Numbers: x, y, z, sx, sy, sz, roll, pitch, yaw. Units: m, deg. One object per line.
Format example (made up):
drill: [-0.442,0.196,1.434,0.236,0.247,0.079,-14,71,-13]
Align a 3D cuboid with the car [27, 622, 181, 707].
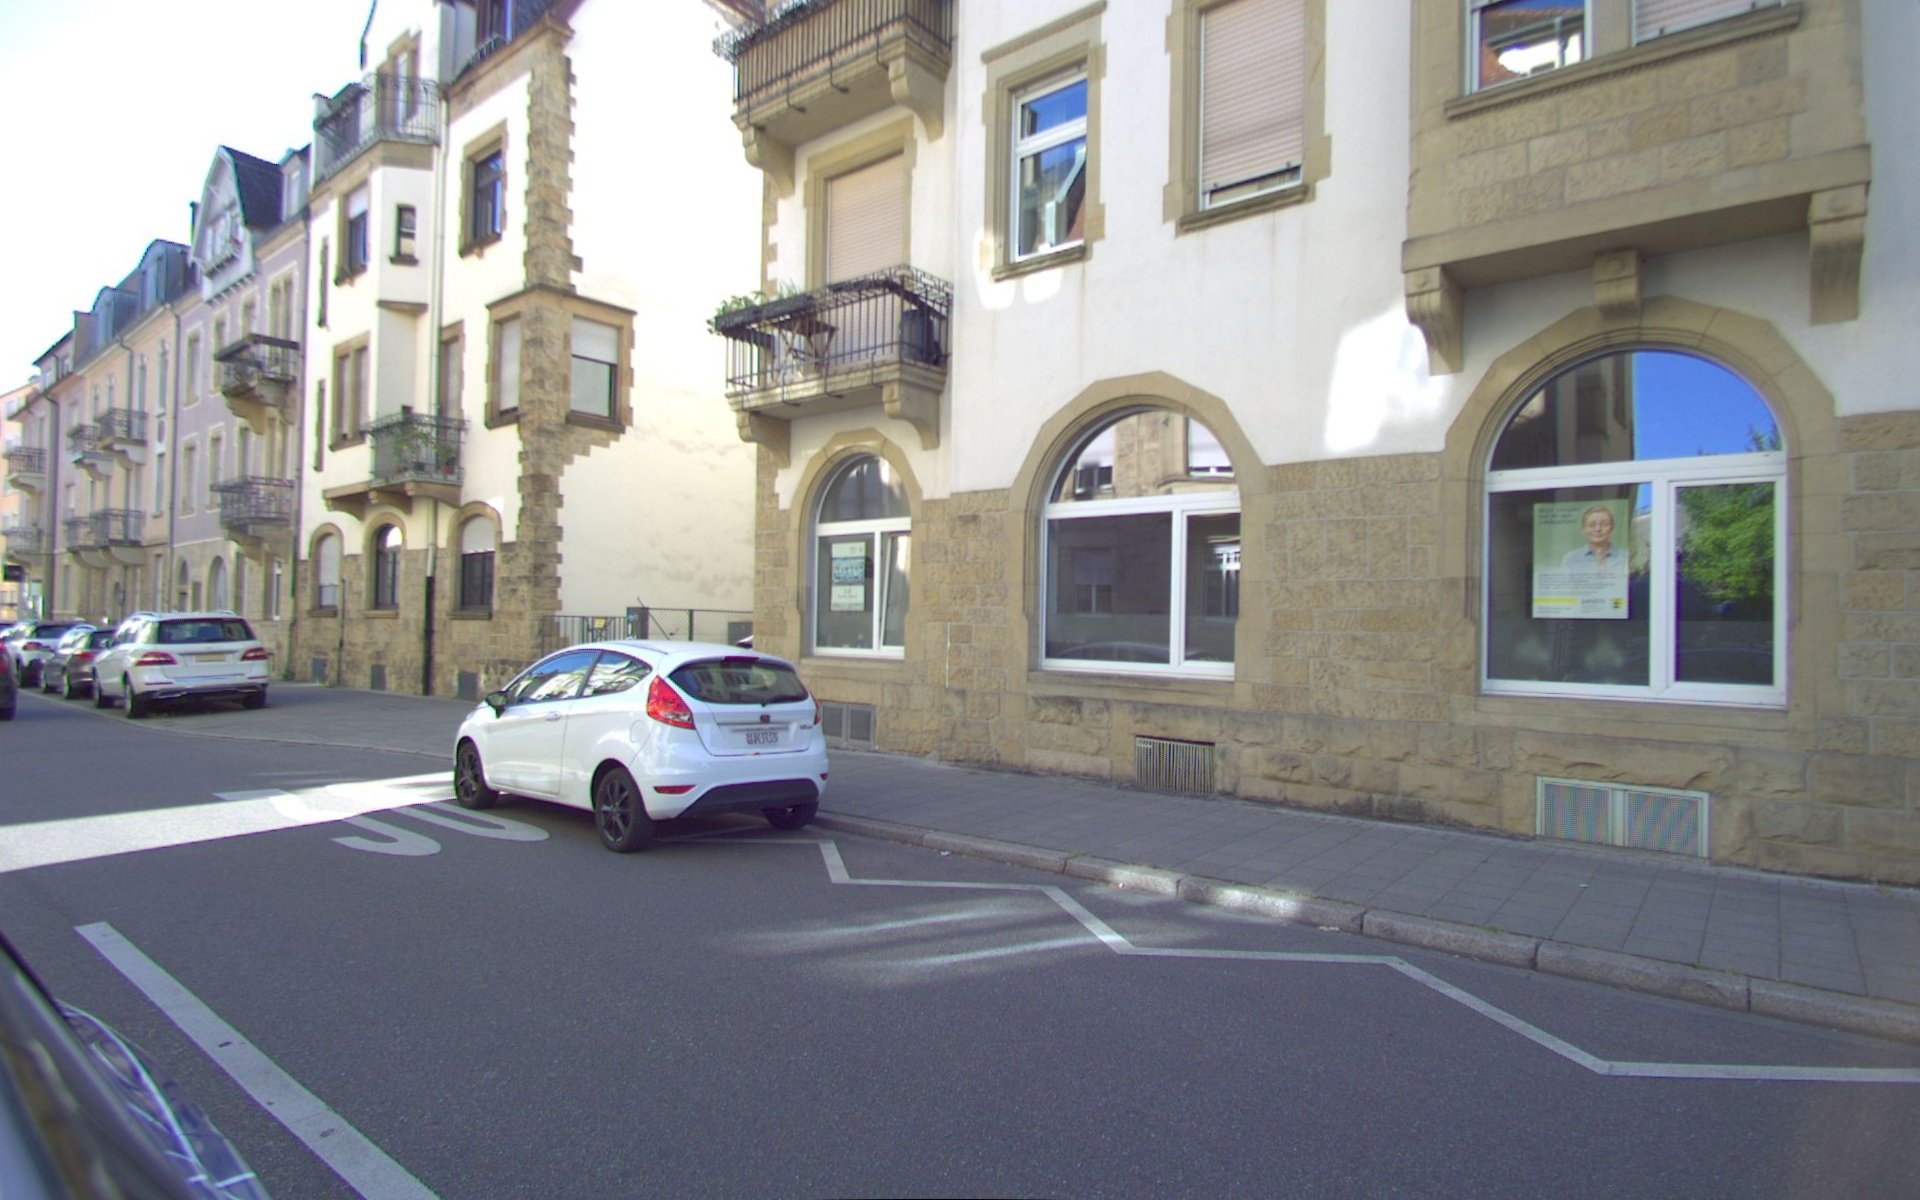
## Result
car: [-18.447,1.292,21.750,4.319,1.519,1.866,-1,2,41]

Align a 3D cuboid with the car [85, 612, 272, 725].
car: [-13.976,1.101,18.014,4.209,1.740,1.866,-1,0,41]

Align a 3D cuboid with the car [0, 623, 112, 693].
car: [-22.950,1.385,25.432,4.319,1.520,1.866,-1,0,41]

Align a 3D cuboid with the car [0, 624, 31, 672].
car: [-33.234,1.610,34.498,4.319,1.520,1.866,-1,0,41]

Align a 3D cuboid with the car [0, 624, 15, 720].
car: [-16.591,1.115,16.225,3.640,1.468,1.635,-1,-2,40]

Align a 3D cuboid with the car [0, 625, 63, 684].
car: [-27.159,1.519,28.871,4.317,1.511,1.833,-1,0,41]

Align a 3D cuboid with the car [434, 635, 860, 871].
car: [-2.656,1.048,8.190,3.642,1.469,1.634,-2,-5,42]
